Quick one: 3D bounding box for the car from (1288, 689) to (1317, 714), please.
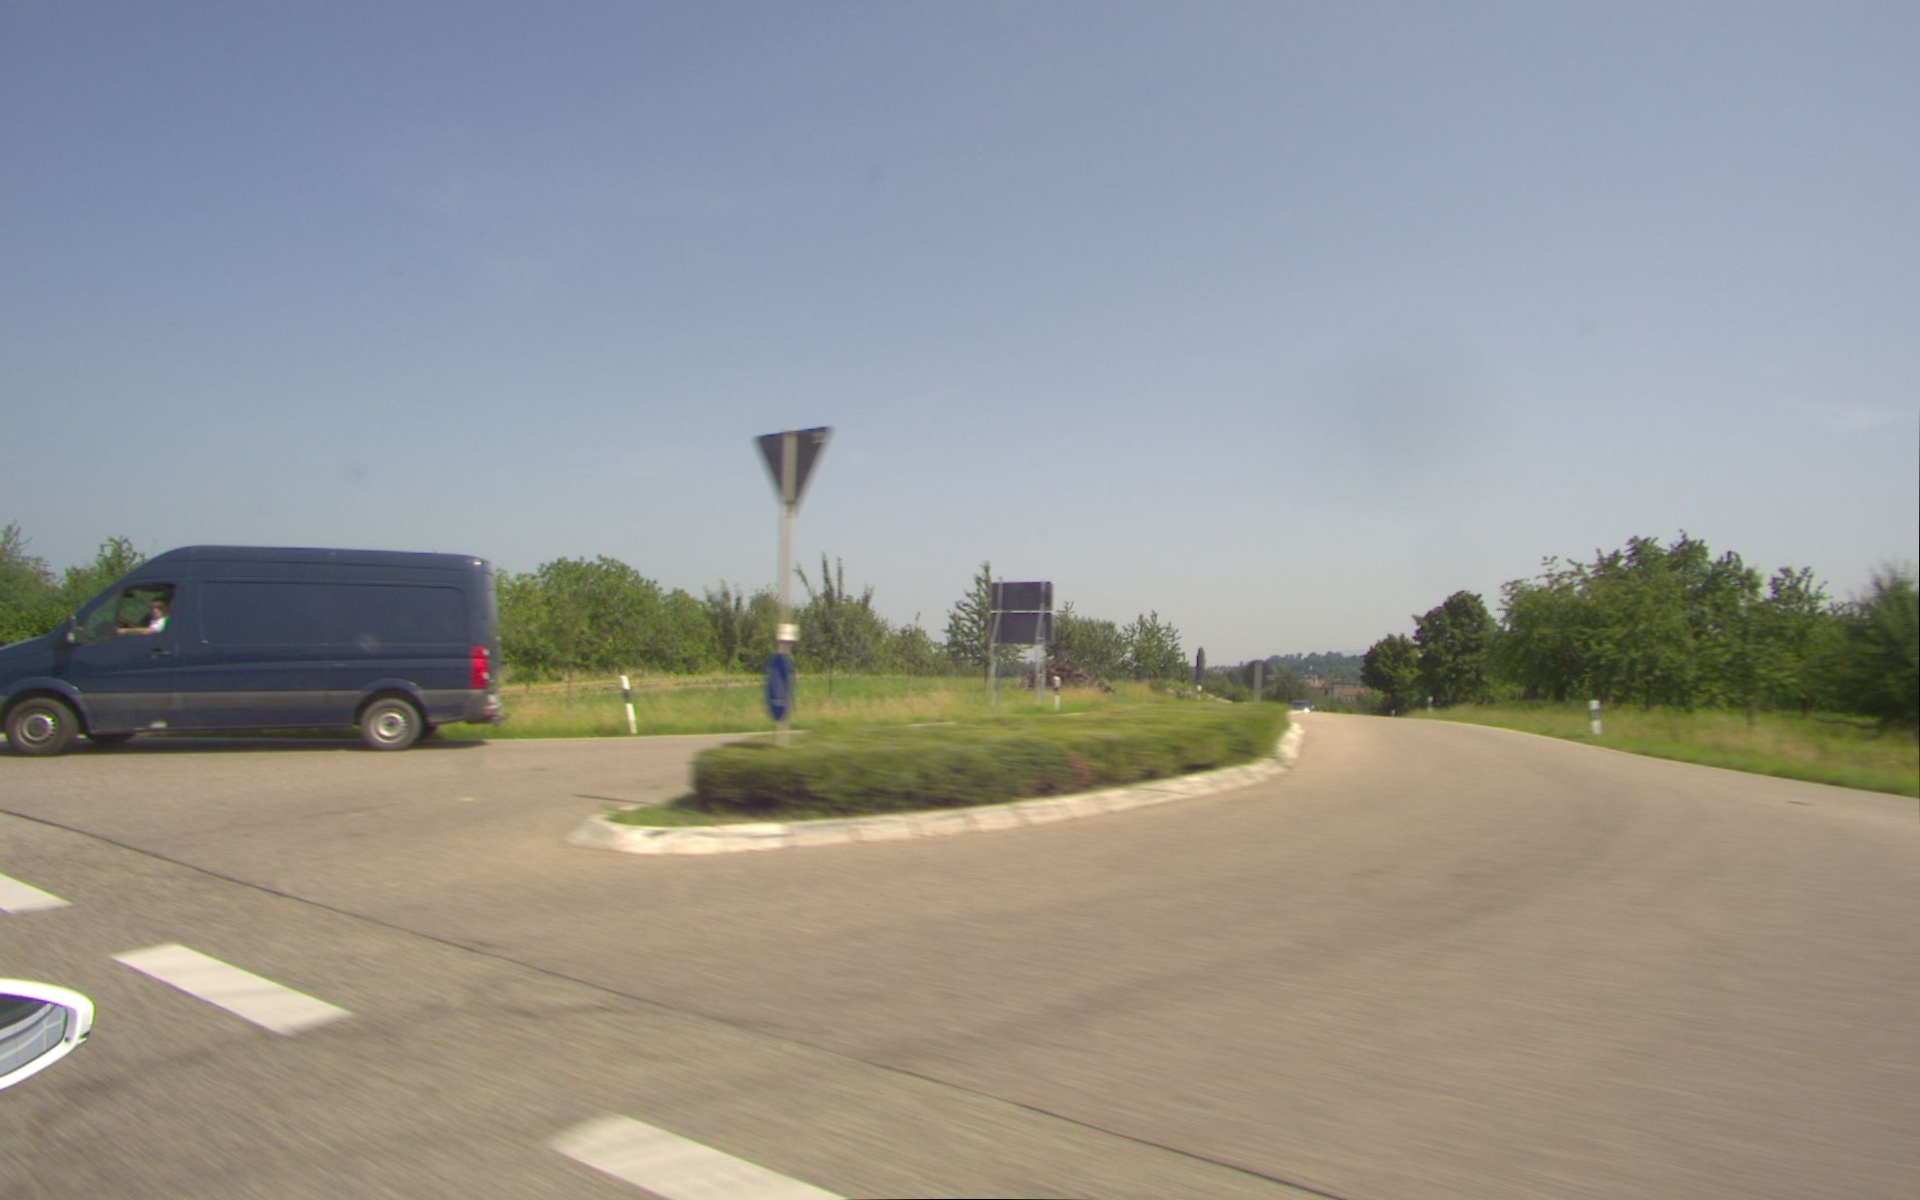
[{"bbox_3d":[26.889,7.907,78.485,1.966,1.717,4.667,-2,-3,21],"label":"car"}]

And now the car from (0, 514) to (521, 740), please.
[{"bbox_3d":[-9.351,0.435,13.362,6.208,2.607,2.057,2,-2,-21],"label":"car"}]
